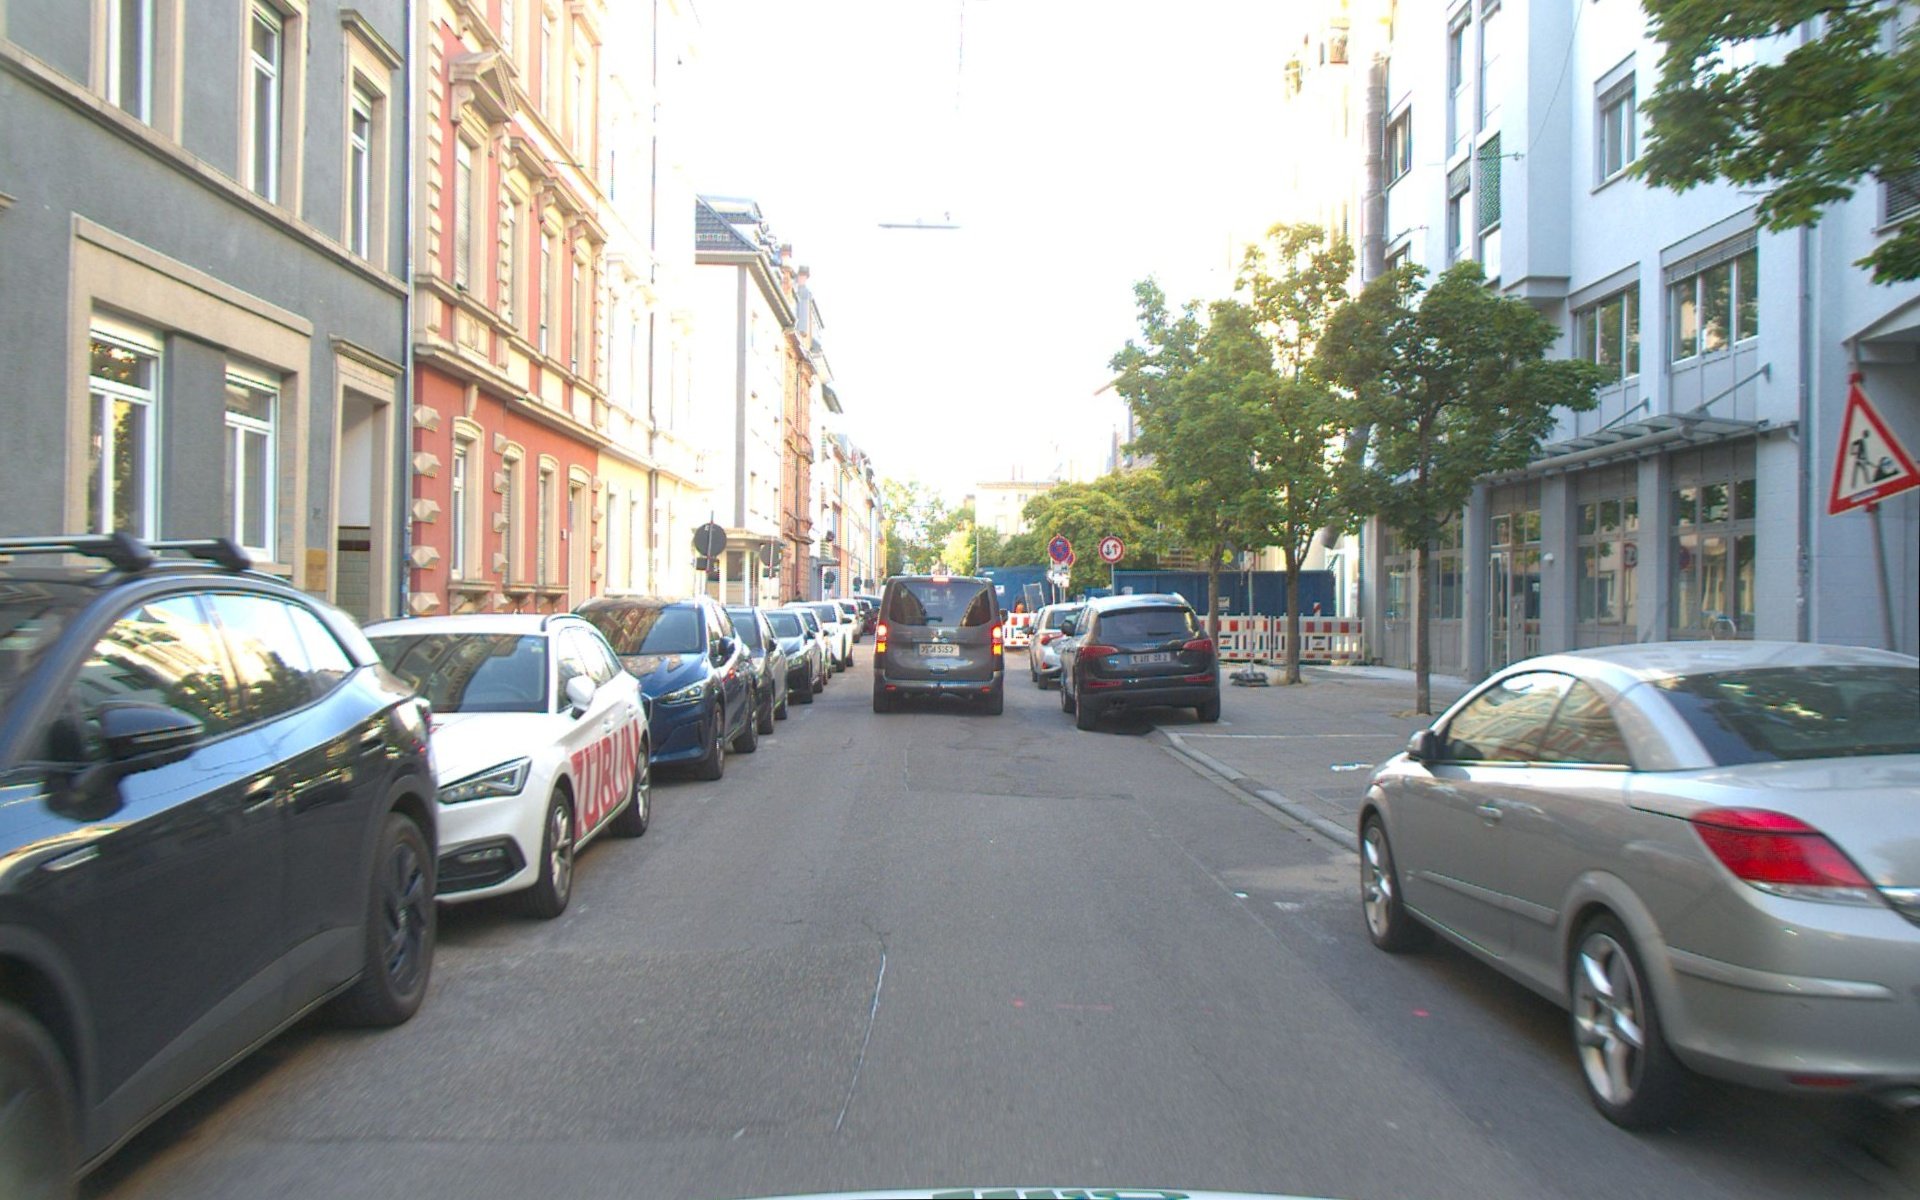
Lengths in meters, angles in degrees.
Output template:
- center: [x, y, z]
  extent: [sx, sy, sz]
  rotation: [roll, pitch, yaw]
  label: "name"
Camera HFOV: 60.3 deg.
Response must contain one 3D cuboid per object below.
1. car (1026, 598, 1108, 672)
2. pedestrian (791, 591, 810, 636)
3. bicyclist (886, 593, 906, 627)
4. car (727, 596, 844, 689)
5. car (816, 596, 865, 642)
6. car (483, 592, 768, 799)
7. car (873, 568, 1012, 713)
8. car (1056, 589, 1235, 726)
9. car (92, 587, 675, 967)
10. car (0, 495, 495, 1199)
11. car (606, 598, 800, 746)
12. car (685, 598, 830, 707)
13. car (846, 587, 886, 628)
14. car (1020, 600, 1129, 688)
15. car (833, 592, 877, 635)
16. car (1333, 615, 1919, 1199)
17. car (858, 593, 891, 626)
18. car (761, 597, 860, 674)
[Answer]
- center: [2.316, 0.731, 36.517]
  extent: [1.641, 1.501, 3.730]
  rotation: [-1, 0, 2]
  label: "car"
- center: [-6.102, 0.518, 63.325]
  extent: [0.725, 1.693, 0.703]
  rotation: [0, 0, -5]
  label: "pedestrian"
- center: [-2.720, 0.418, 70.355]
  extent: [0.717, 1.437, 0.940]
  rotation: [2, 0, 1]
  label: "bicyclist"
- center: [-3.265, 0.747, 31.686]
  extent: [1.882, 1.587, 4.265]
  rotation: [-2, 0, -2]
  label: "car"
- center: [-4.363, 0.701, 60.158]
  extent: [1.624, 1.485, 3.414]
  rotation: [5, -1, -4]
  label: "car"
- center: [-2.940, 0.757, 15.452]
  extent: [1.882, 1.587, 4.265]
  rotation: [-2, 0, -2]
  label: "car"
- center: [-0.294, 0.570, 24.361]
  extent: [1.827, 1.919, 4.233]
  rotation: [1, -1, -2]
  label: "car"
- center: [2.420, 0.710, 22.642]
  extent: [1.847, 1.651, 4.433]
  rotation: [-1, 0, -1]
  label: "car"
- center: [-2.875, 0.753, 9.349]
  extent: [1.882, 1.587, 4.265]
  rotation: [-2, 0, -2]
  label: "car"
- center: [-2.787, 0.667, 4.480]
  extent: [1.882, 1.692, 4.467]
  rotation: [-2, 0, -2]
  label: "car"
- center: [-3.101, 0.812, 20.794]
  extent: [1.863, 1.587, 4.239]
  rotation: [-2, 0, -2]
  label: "car"
- center: [-3.119, 0.760, 26.267]
  extent: [1.882, 1.510, 4.265]
  rotation: [-2, 0, -2]
  label: "car"
- center: [-4.880, 0.390, 85.589]
  extent: [1.855, 1.878, 4.344]
  rotation: [5, -1, -4]
  label: "car"
- center: [2.132, 0.791, 31.783]
  extent: [1.643, 1.551, 3.968]
  rotation: [-1, 0, -2]
  label: "car"
- center: [-4.870, 0.615, 76.216]
  extent: [1.855, 1.749, 3.750]
  rotation: [5, -1, -4]
  label: "car"
- center: [2.785, 0.821, 6.156]
  extent: [1.727, 1.454, 4.344]
  rotation: [-1, 0, -1]
  label: "car"
- center: [-5.473, 0.601, 105.757]
  extent: [1.855, 1.878, 4.344]
  rotation: [5, -1, -4]
  label: "car"
- center: [-3.295, 0.746, 37.088]
  extent: [1.882, 1.533, 4.266]
  rotation: [-2, 0, -1]
  label: "car"
